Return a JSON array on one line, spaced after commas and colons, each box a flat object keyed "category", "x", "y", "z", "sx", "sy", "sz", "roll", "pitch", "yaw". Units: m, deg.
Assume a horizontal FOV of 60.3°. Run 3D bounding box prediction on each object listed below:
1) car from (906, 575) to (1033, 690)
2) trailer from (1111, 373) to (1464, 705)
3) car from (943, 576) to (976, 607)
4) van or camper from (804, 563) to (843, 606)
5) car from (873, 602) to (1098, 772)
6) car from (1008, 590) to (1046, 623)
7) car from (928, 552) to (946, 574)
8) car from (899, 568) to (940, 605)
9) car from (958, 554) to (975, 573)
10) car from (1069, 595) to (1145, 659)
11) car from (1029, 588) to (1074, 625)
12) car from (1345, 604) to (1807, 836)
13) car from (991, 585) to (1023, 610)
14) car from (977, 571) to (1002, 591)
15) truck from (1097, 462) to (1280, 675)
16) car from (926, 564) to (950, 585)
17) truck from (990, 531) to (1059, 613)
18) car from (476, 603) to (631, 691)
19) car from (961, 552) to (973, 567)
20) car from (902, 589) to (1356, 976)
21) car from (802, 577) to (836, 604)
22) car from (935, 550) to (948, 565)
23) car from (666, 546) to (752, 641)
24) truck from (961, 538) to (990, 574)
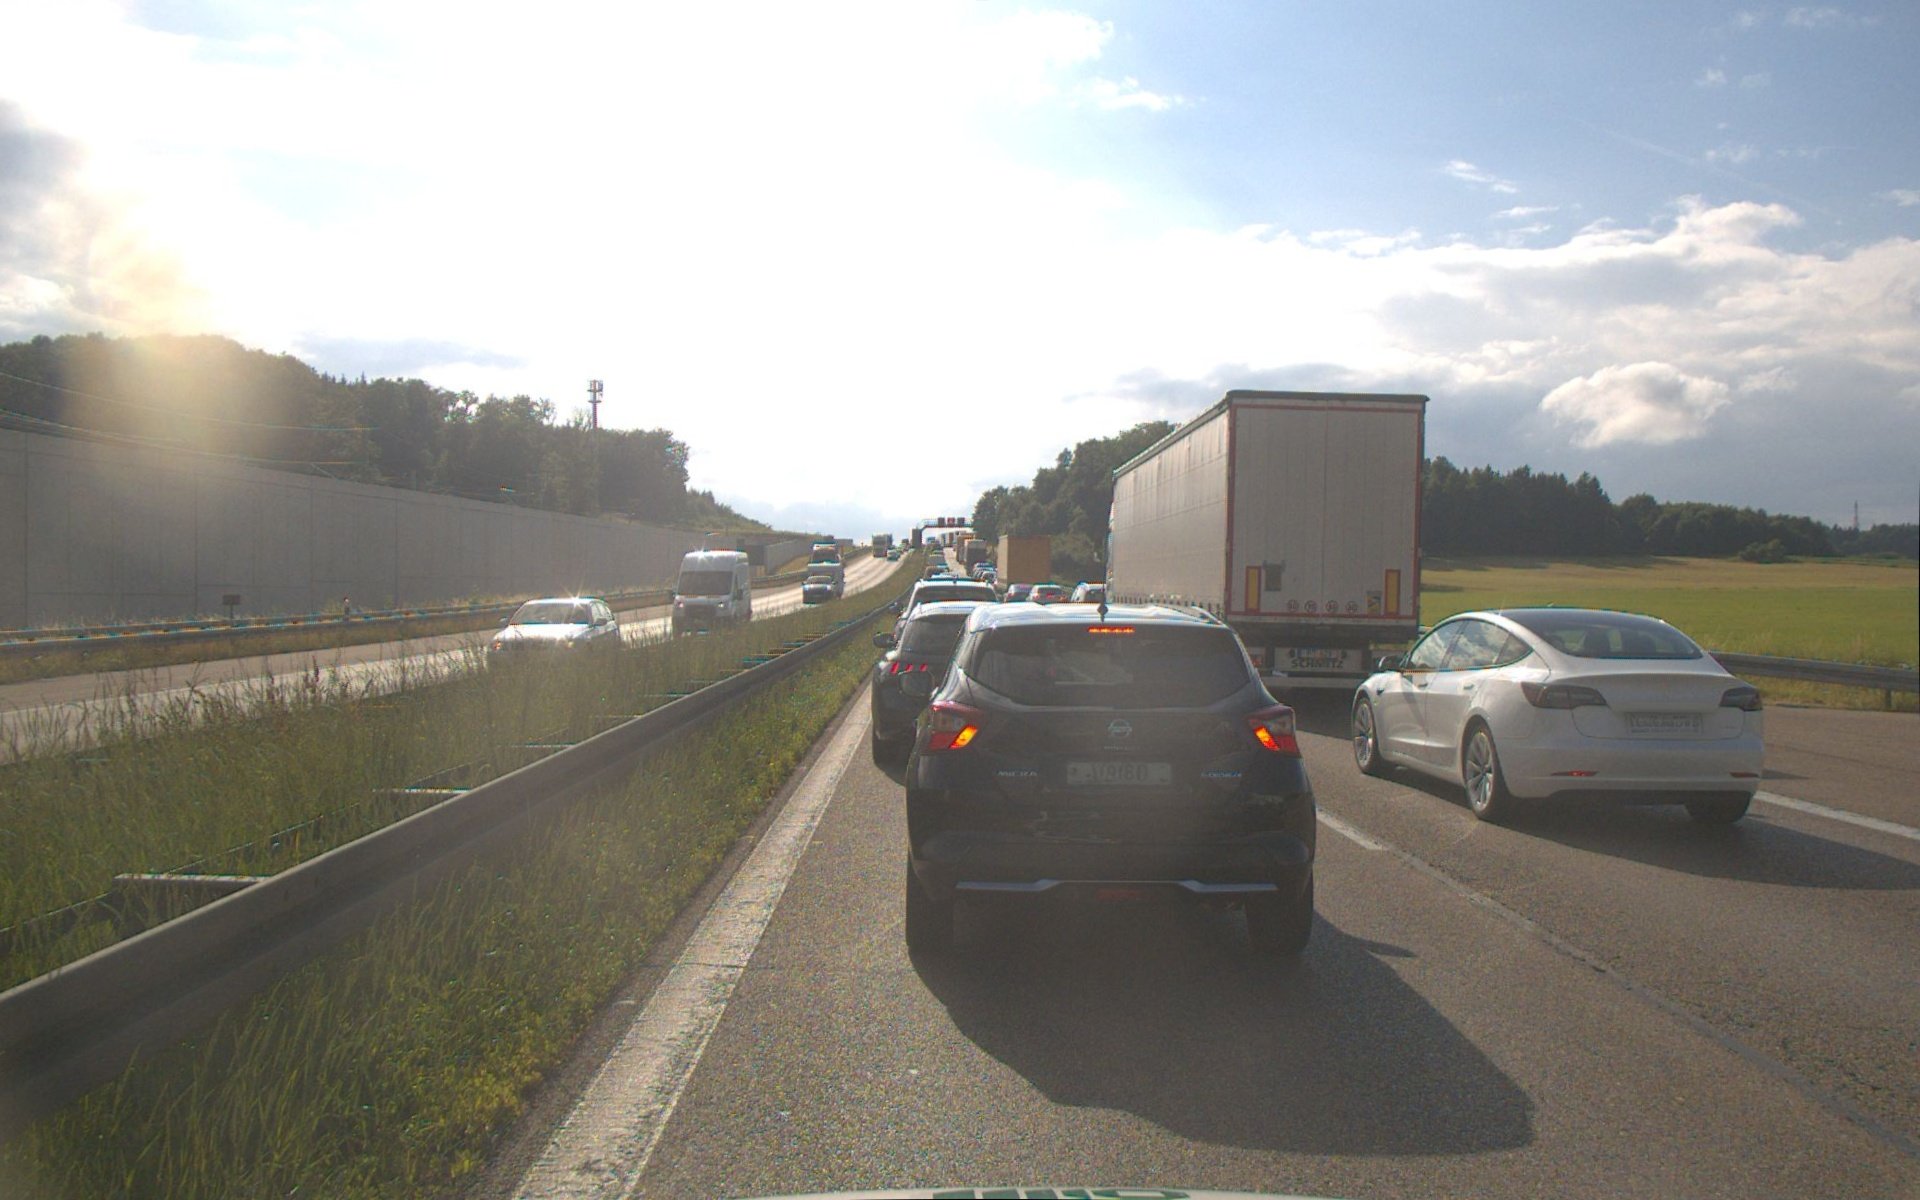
[{"category": "car", "x": 0.115, "y": 0.473, "z": 26.122, "sx": 1.835, "sy": 1.673, "sz": 4.231, "roll": 0, "pitch": 0, "yaw": -1}, {"category": "trailer", "x": 4.677, "y": -0.660, "z": 27.182, "sx": 3.066, "sy": 4.081, "sz": 13.364, "roll": 1, "pitch": -1, "yaw": 0}, {"category": "car", "x": -0.043, "y": -0.489, "z": 94.460, "sx": 1.835, "sy": 1.673, "sz": 4.232, "roll": 0, "pitch": 2, "yaw": -1}, {"category": "van or camper", "x": -9.135, "y": -1.026, "z": 111.168, "sx": 2.207, "sy": 2.751, "sz": 7.168, "roll": 0, "pitch": 0, "yaw": -1}, {"category": "car", "x": 0.185, "y": 0.709, "z": 15.591, "sx": 1.835, "sy": 1.381, "sz": 4.231, "roll": 0, "pitch": 0, "yaw": -1}, {"category": "car", "x": 3.511, "y": 0.334, "z": 87.385, "sx": 1.835, "sy": 1.673, "sz": 4.232, "roll": 0, "pitch": 1, "yaw": -1}, {"category": "car", "x": -2.493, "y": -3.989, "z": 178.457, "sx": 1.835, "sy": 2.196, "sz": 5.211, "roll": 0, "pitch": 3, "yaw": -1}, {"category": "car", "x": -1.867, "y": -0.650, "z": 76.569, "sx": 1.835, "sy": 1.673, "sz": 4.232, "roll": 0, "pitch": 1, "yaw": -1}, {"category": "car", "x": 0.775, "y": -4.404, "z": 200.249, "sx": 1.835, "sy": 2.196, "sz": 5.211, "roll": 0, "pitch": 3, "yaw": -1}, {"category": "car", "x": 3.911, "y": 0.683, "z": 44.568, "sx": 1.663, "sy": 1.639, "sz": 4.437, "roll": 0, "pitch": 0, "yaw": 0}, {"category": "car", "x": 4.291, "y": 0.290, "z": 77.877, "sx": 1.835, "sy": 1.673, "sz": 4.232, "roll": 0, "pitch": 1, "yaw": -1}, {"category": "car", "x": 4.390, "y": 0.760, "z": 12.601, "sx": 1.752, "sy": 1.418, "sz": 4.435, "roll": 0, "pitch": 0, "yaw": -2}, {"category": "car", "x": 3.161, "y": -0.205, "z": 112.000, "sx": 1.836, "sy": 1.673, "sz": 4.230, "roll": 0, "pitch": 1, "yaw": -3}, {"category": "car", "x": 2.553, "y": -1.657, "z": 143.289, "sx": 1.836, "sy": 1.673, "sz": 4.229, "roll": 0, "pitch": 2, "yaw": -4}, {"category": "truck", "x": 4.648, "y": -0.579, "z": 34.655, "sx": 3.069, "sy": 4.086, "sz": 5.163, "roll": 1, "pitch": -1, "yaw": 0}, {"category": "car", "x": -1.799, "y": -2.088, "z": 134.927, "sx": 1.835, "sy": 1.673, "sz": 4.231, "roll": 0, "pitch": 2, "yaw": -2}, {"category": "truck", "x": 3.808, "y": -1.557, "z": 100.798, "sx": 3.230, "sy": 4.657, "sz": 12.435, "roll": 1, "pitch": 0, "yaw": -2}, {"category": "car", "x": -7.336, "y": 0.802, "z": 30.265, "sx": 1.835, "sy": 1.476, "sz": 4.231, "roll": 0, "pitch": 0, "yaw": -1}, {"category": "car", "x": 1.084, "y": -6.264, "z": 255.396, "sx": 1.835, "sy": 2.196, "sz": 5.211, "roll": 0, "pitch": 3, "yaw": -1}, {"category": "car", "x": 0.626, "y": 0.696, "z": 8.441, "sx": 1.737, "sy": 1.476, "sz": 4.231, "roll": 0, "pitch": 0, "yaw": -1}, {"category": "car", "x": -8.966, "y": -0.601, "z": 105.394, "sx": 1.871, "sy": 1.701, "sz": 4.360, "roll": 0, "pitch": 0, "yaw": -1}, {"category": "car", "x": -2.822, "y": -6.433, "z": 251.686, "sx": 1.835, "sy": 2.196, "sz": 5.211, "roll": 0, "pitch": 3, "yaw": -1}, {"category": "car", "x": -8.098, "y": -0.214, "z": 53.937, "sx": 2.061, "sy": 2.920, "sz": 5.635, "roll": 0, "pitch": 0, "yaw": -1}, {"category": "truck", "x": 2.061, "y": -6.018, "z": 225.886, "sx": 3.394, "sy": 4.656, "sz": 12.437, "roll": 1, "pitch": 1, "yaw": -2}]
